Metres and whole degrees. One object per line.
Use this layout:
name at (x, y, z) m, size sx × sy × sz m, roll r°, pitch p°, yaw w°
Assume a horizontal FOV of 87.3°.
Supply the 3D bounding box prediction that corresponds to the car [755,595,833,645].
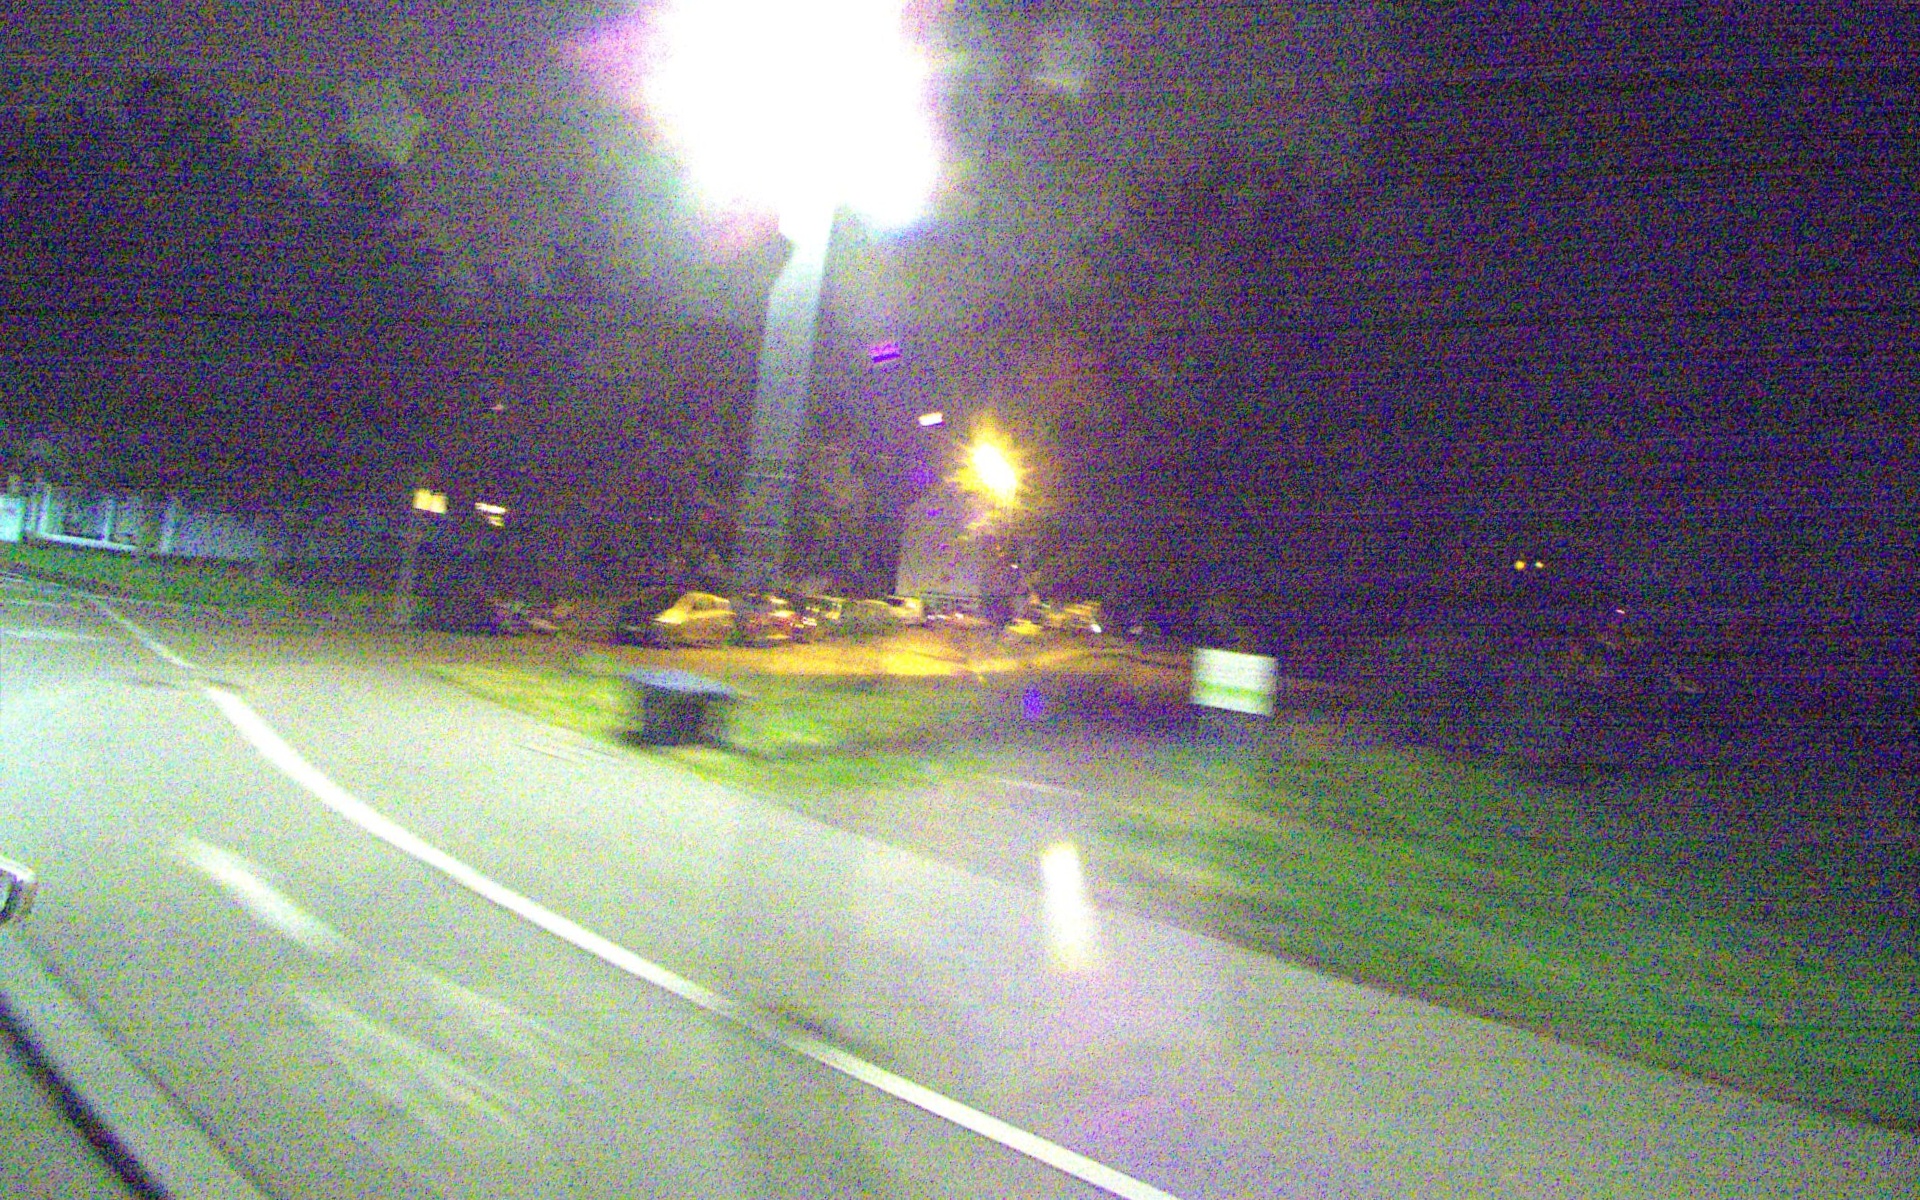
car at (-5.945, 0.732, 36.555) m, size 1.730 × 1.492 × 4.712 m, roll 8°, pitch -1°, yaw 2°

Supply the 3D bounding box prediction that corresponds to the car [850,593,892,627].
car at (-5.081, 0.611, 57.812) m, size 1.636 × 1.690 × 3.432 m, roll 8°, pitch -1°, yaw 6°

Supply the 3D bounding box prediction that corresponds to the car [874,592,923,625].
car at (-3.863, 0.548, 63.754) m, size 1.804 × 1.690 × 4.416 m, roll 8°, pitch -1°, yaw 13°

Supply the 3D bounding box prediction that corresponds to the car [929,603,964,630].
car at (-0.967, 1.217, 74.024) m, size 1.434 × 1.690 × 3.474 m, roll 7°, pitch -1°, yaw 16°

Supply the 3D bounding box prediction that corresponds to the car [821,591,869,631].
car at (-5.620, 0.546, 49.379) m, size 1.637 × 1.690 × 3.543 m, roll 8°, pitch -1°, yaw 2°

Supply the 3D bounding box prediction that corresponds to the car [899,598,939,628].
car at (-2.741, 0.924, 67.926) m, size 1.546 × 1.690 × 4.100 m, roll 8°, pitch -1°, yaw 13°

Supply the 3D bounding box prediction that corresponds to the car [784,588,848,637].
car at (-5.962, 0.546, 42.010) m, size 1.730 × 1.690 × 4.330 m, roll 8°, pitch -1°, yaw 2°

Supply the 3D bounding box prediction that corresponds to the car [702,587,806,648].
car at (-6.316, 0.591, 31.295) m, size 1.582 × 1.566 × 4.035 m, roll 8°, pitch -1°, yaw 11°

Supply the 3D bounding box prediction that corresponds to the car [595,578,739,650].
car at (-7.568, 0.424, 26.390) m, size 1.829 × 1.497 × 3.634 m, roll 8°, pitch -1°, yaw 16°

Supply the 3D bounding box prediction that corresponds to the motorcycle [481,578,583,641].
motorcycle at (-9.446, 0.238, 22.333) m, size 0.698 × 1.229 × 2.267 m, roll 7°, pitch -1°, yaw 16°

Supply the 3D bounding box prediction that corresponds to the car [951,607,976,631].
car at (0.274, 1.497, 78.250) m, size 1.374 × 1.691 × 2.927 m, roll 8°, pitch -1°, yaw 8°
